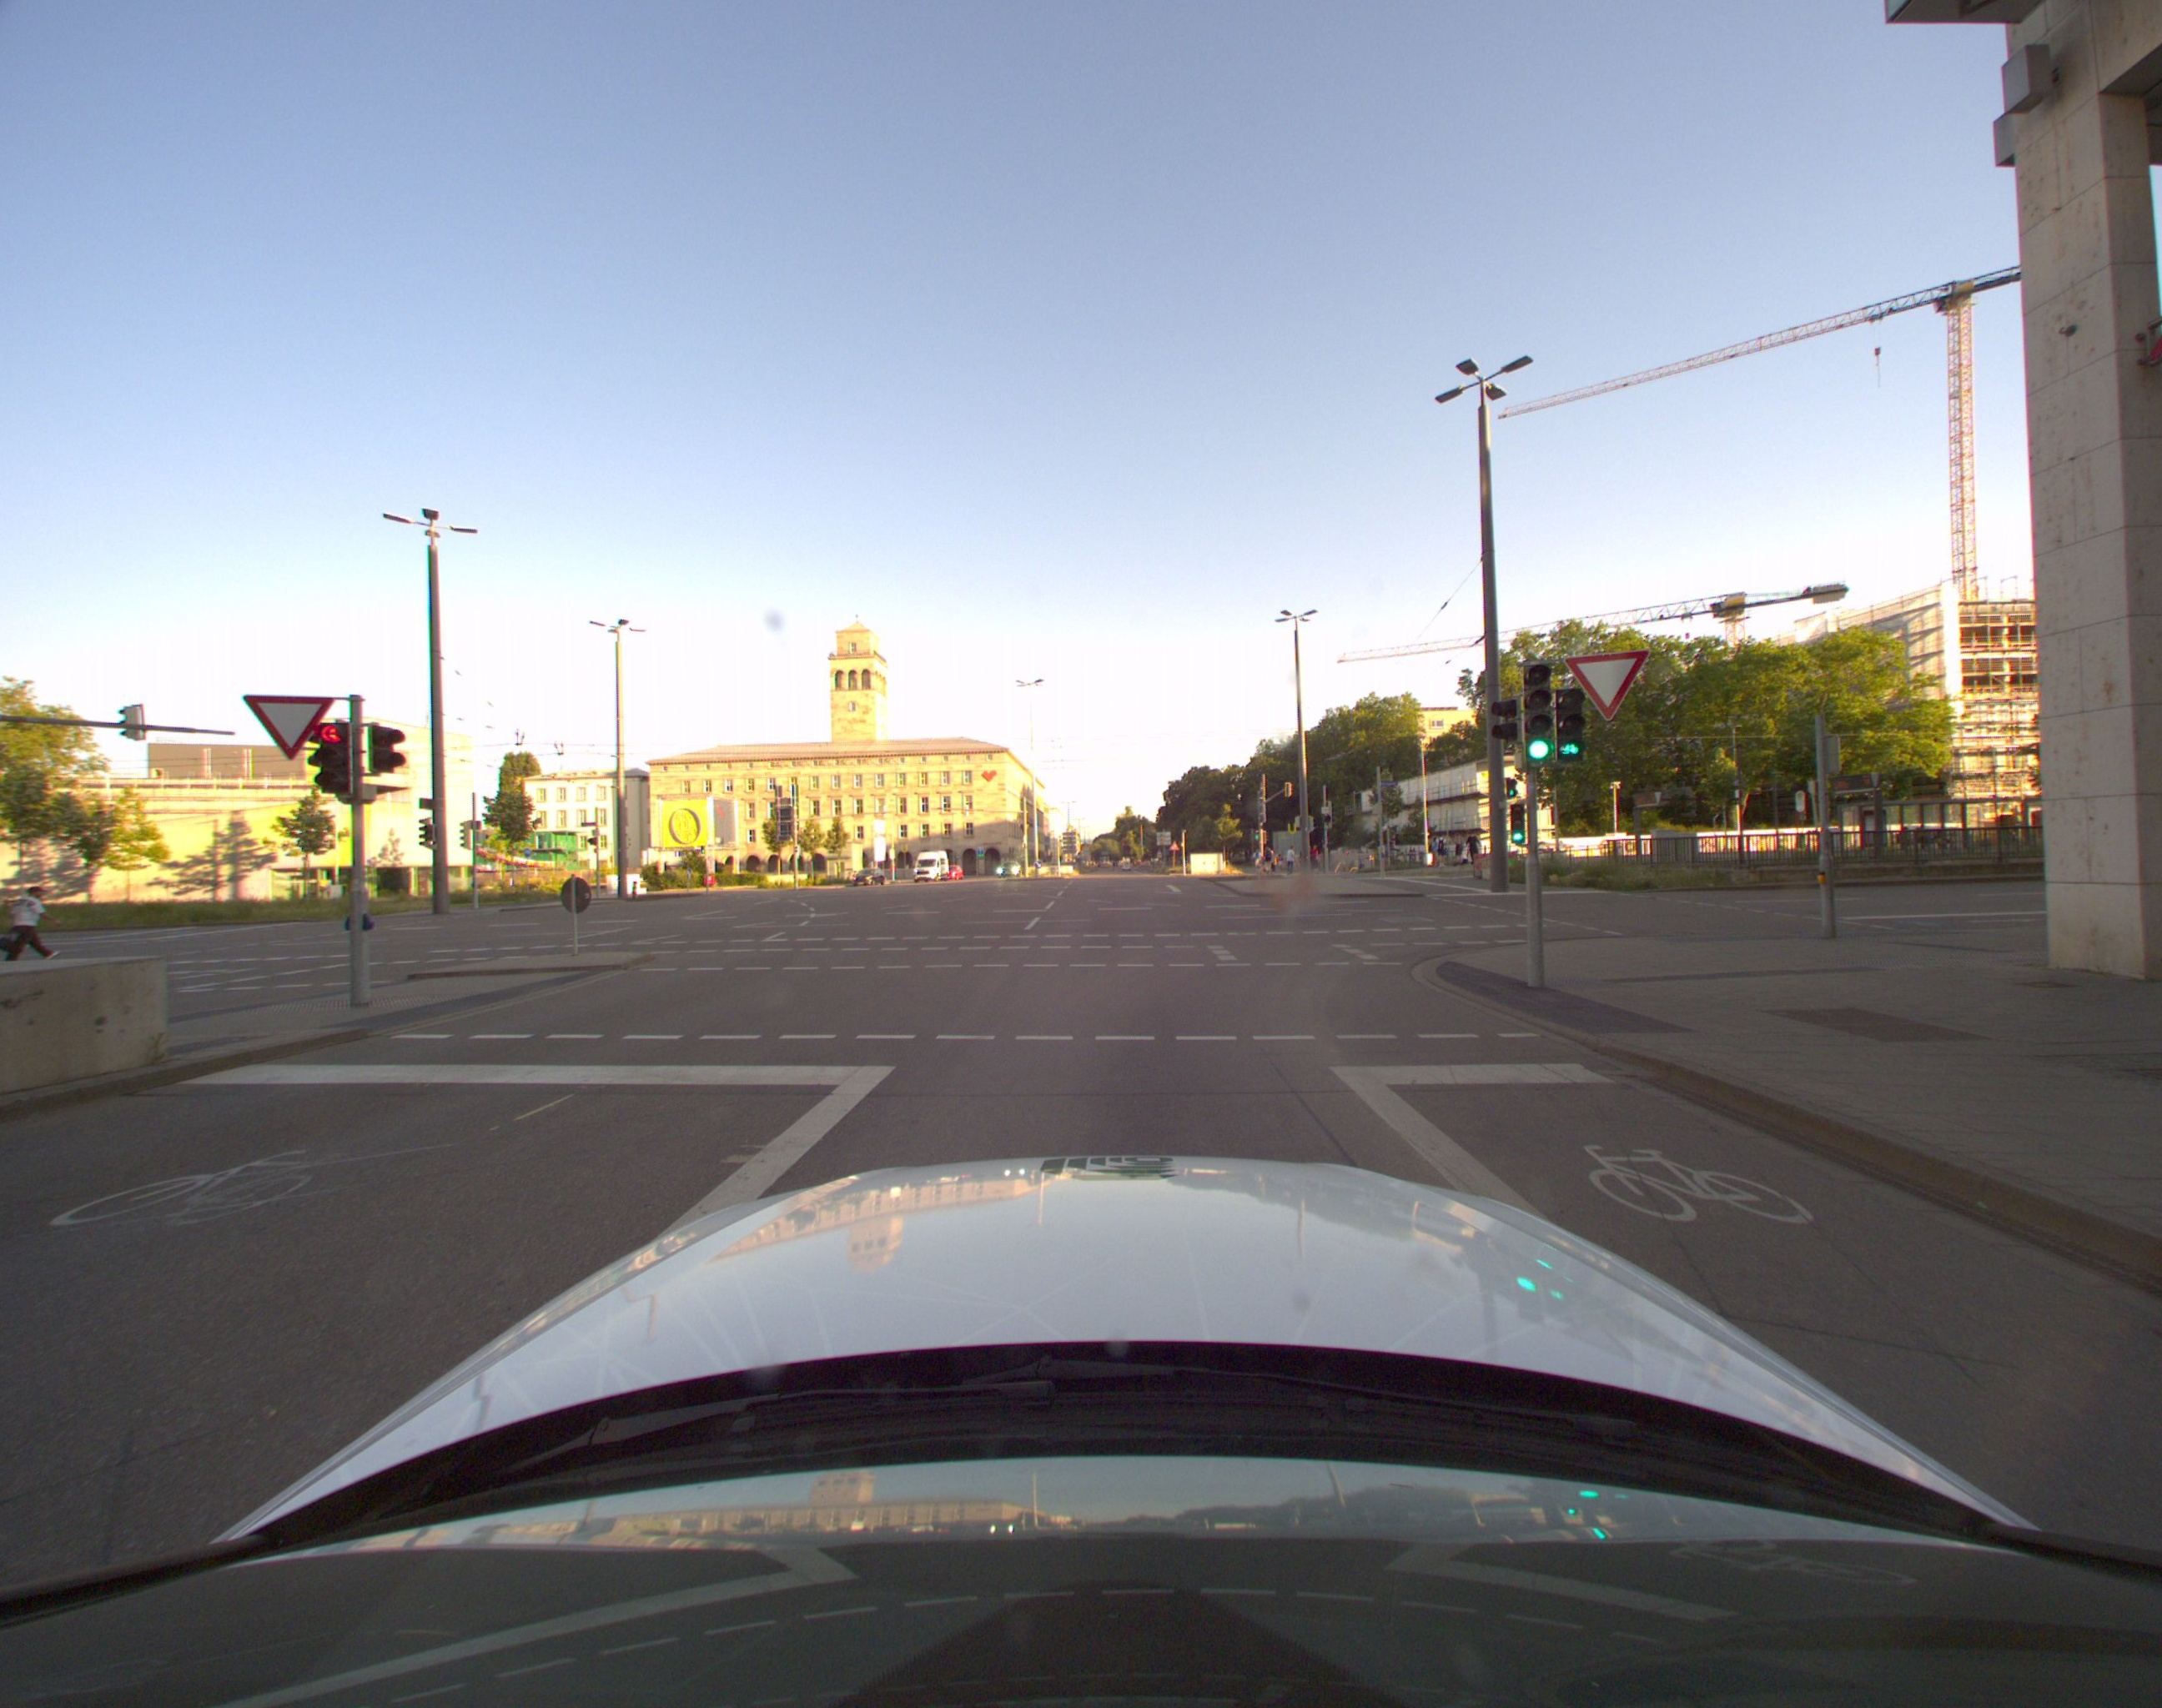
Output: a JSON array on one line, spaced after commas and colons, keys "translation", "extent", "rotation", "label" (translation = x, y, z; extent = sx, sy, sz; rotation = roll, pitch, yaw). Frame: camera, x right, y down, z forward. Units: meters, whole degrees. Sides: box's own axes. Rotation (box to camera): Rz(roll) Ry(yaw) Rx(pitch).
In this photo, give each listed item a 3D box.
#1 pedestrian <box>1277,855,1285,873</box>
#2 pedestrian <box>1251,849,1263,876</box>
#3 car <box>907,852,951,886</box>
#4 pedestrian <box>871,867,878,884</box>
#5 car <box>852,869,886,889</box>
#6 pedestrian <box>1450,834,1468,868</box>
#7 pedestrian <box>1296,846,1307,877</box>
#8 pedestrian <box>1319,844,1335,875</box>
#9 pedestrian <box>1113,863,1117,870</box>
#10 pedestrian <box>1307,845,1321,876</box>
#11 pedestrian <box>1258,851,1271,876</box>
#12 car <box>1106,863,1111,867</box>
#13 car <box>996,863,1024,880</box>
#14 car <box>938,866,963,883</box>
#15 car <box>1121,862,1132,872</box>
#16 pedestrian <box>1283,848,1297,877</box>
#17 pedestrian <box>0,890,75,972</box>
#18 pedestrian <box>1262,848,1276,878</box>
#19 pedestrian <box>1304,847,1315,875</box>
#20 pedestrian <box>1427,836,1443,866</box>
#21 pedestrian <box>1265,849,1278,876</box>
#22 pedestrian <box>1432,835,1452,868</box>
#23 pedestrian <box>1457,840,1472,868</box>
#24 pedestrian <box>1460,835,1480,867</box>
[{"translation": [21.111, 1.074, 85.896], "extent": [0.662, 1.842, 0.714], "rotation": [-2, 0, 7], "label": "pedestrian"}, {"translation": [11.346, 0.559, 52.480], "extent": [0.705, 1.725, 0.671], "rotation": [-2, 0, 15], "label": "pedestrian"}, {"translation": [-13.404, 1.300, 72.247], "extent": [2.269, 2.776, 6.089], "rotation": [-2, 0, 3], "label": "car"}, {"translation": [-20.991, 2.161, 82.944], "extent": [0.620, 1.744, 0.459], "rotation": [0, -2, -4], "label": "pedestrian"}, {"translation": [-18.204, 2.117, 70.123], "extent": [1.817, 1.466, 4.158], "rotation": [-2, 0, 0], "label": "car"}, {"translation": [19.725, -0.167, 42.494], "extent": [0.705, 1.725, 0.671], "rotation": [-2, -1, 19], "label": "pedestrian"}, {"translation": [13.150, 0.431, 48.453], "extent": [0.568, 1.791, 0.641], "rotation": [-2, 0, 15], "label": "pedestrian"}, {"translation": [14.494, 0.311, 48.055], "extent": [0.799, 1.791, 0.803], "rotation": [-2, 0, 14], "label": "pedestrian"}, {"translation": [8.131, 2.925, 193.843], "extent": [0.903, 1.671, 1.307], "rotation": [-2, 0, 1], "label": "pedestrian"}, {"translation": [13.438, 0.350, 46.867], "extent": [0.697, 1.734, 0.851], "rotation": [-2, 0, 18], "label": "pedestrian"}, {"translation": [13.387, 0.694, 59.433], "extent": [0.673, 1.757, 0.907], "rotation": [-2, 0, 22], "label": "pedestrian"}, {"translation": [7.929, 3.201, 234.297], "extent": [1.364, 1.234, 3.048], "rotation": [-2, 0, 3], "label": "car"}, {"translation": [-6.272, 1.546, 71.953], "extent": [1.815, 1.342, 4.004], "rotation": [-2, 0, 4], "label": "car"}, {"translation": [-12.889, 1.995, 80.670], "extent": [1.732, 1.487, 4.000], "rotation": [-2, 0, 1], "label": "car"}, {"translation": [7.463, 2.122, 133.366], "extent": [1.479, 1.696, 2.972], "rotation": [-2, 0, -1], "label": "car"}, {"translation": [12.647, 0.506, 49.301], "extent": [0.706, 1.725, 0.918], "rotation": [-2, 0, 12], "label": "pedestrian"}, {"translation": [-23.350, 1.688, 18.080], "extent": [0.819, 1.721, 0.958], "rotation": [-2, -1, -2], "label": "pedestrian"}, {"translation": [11.009, 0.543, 47.782], "extent": [0.707, 1.725, 0.917], "rotation": [-2, 0, 9], "label": "pedestrian"}, {"translation": [14.023, 0.403, 49.939], "extent": [0.568, 1.679, 0.641], "rotation": [-2, 0, 15], "label": "pedestrian"}, {"translation": [19.014, -0.151, 43.779], "extent": [0.569, 1.592, 0.537], "rotation": [-2, -1, 1], "label": "pedestrian"}, {"translation": [12.253, 0.549, 52.352], "extent": [0.705, 1.725, 0.671], "rotation": [-2, 0, 19], "label": "pedestrian"}, {"translation": [18.960, -0.137, 42.765], "extent": [0.704, 1.725, 0.672], "rotation": [-2, -1, 44], "label": "pedestrian"}, {"translation": [20.343, -0.009, 43.197], "extent": [0.670, 1.441, 0.718], "rotation": [-2, -1, 24], "label": "pedestrian"}, {"translation": [21.119, -0.146, 44.258], "extent": [0.708, 1.725, 0.668], "rotation": [-2, -1, 0], "label": "pedestrian"}]
